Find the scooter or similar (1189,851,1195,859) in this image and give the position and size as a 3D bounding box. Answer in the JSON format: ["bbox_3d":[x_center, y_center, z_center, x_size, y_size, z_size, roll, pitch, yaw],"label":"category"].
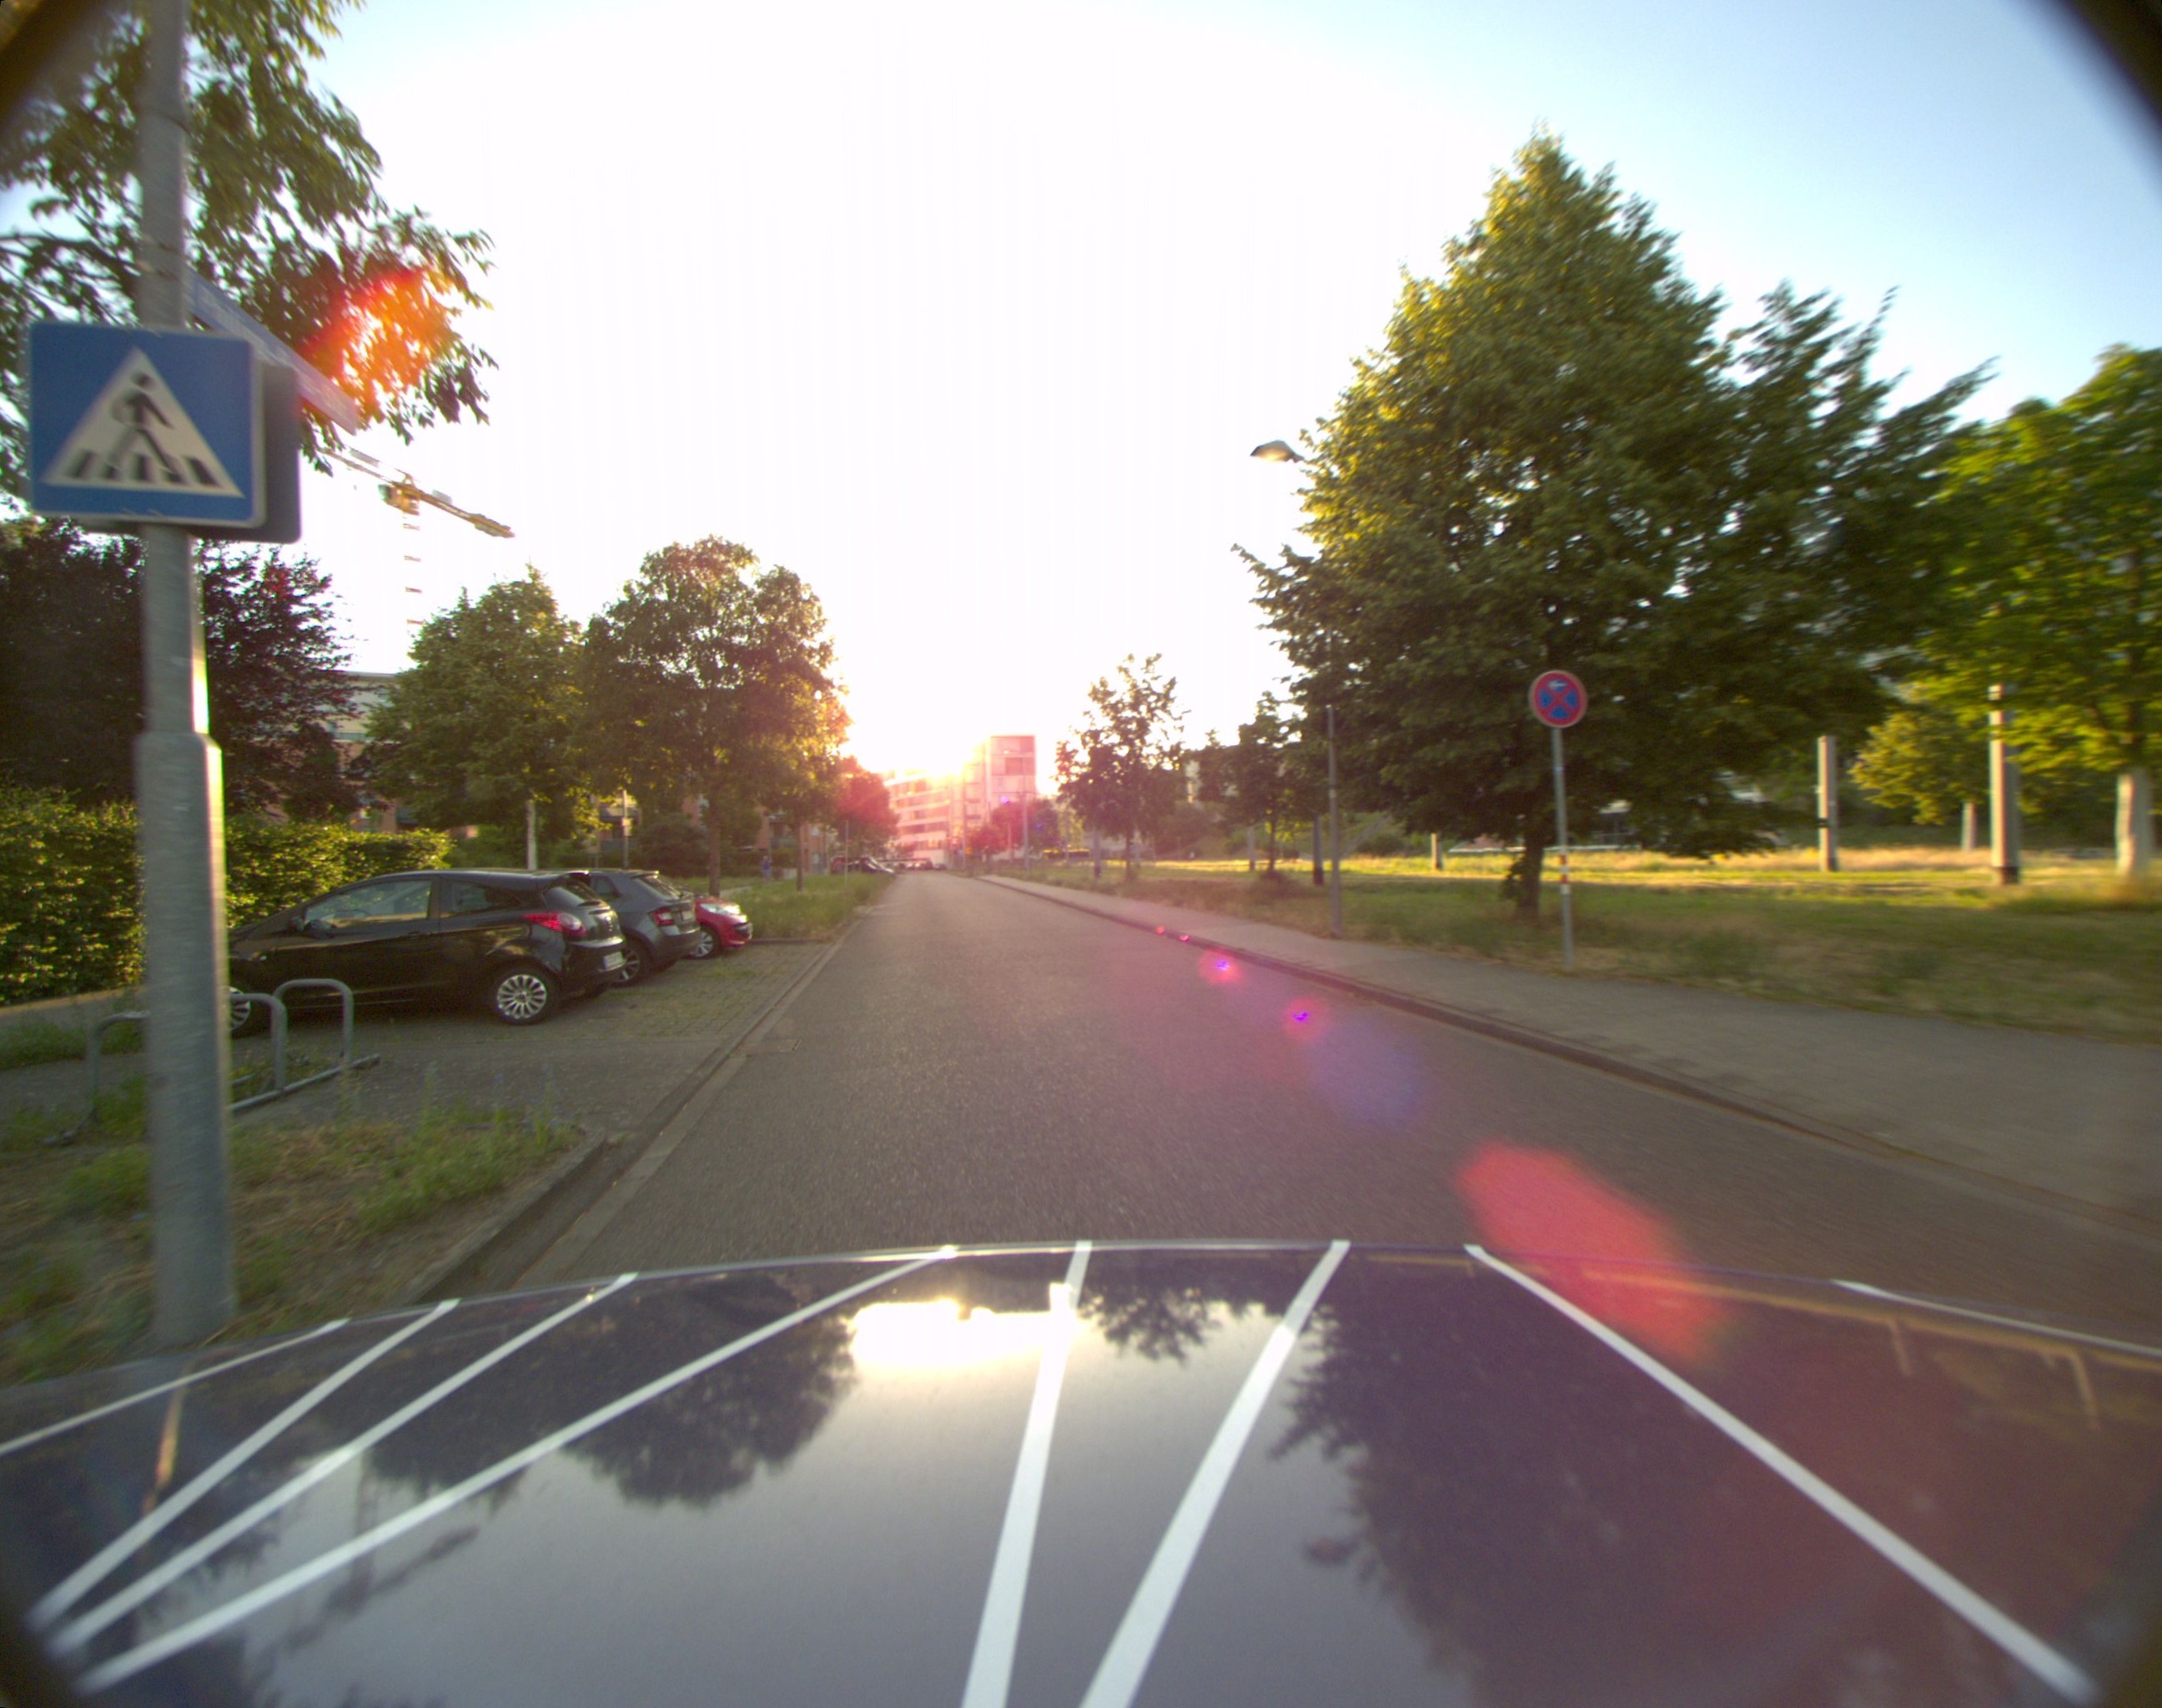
[{"bbox_3d":[17.239,0.158,118.472,0.618,1.237,0.789,-4,1,-13],"label":"scooter or similar"}]

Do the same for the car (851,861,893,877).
[{"bbox_3d":[-18.493,1.321,67.360,3.538,1.456,1.614,0,0,-12],"label":"car"}]

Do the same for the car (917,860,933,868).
[{"bbox_3d":[-32.383,2.166,157.706,1.869,1.468,4.510,-5,1,-28],"label":"car"}]

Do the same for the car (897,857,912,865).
[{"bbox_3d":[-39.463,1.536,169.783,1.800,1.676,3.990,-2,0,-34],"label":"car"}]

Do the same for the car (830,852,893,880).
[{"bbox_3d":[-18.628,1.010,64.770,4.937,2.104,2.015,-2,0,-11],"label":"car"}]

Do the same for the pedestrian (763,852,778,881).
[{"bbox_3d":[-19.150,0.755,46.814,0.671,1.733,0.698,-2,0,-12],"label":"pedestrian"}]

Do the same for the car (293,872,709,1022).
[{"bbox_3d":[-7.062,1.065,9.707,3.816,1.500,1.677,-2,0,-14],"label":"car"}]

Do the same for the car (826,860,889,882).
[{"bbox_3d":[-18.089,1.360,61.720,4.685,1.547,1.809,-2,0,-10],"label":"car"}]

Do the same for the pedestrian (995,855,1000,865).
[{"bbox_3d":[-14.601,1.073,132.961,0.450,1.826,0.482,-5,1,-32],"label":"pedestrian"}]

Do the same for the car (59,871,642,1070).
[{"bbox_3d":[-6.789,0.994,7.573,3.816,1.500,1.677,-2,0,-14],"label":"car"}]

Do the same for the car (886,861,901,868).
[{"bbox_3d":[-43.187,2.429,175.126,1.800,1.542,3.989,-5,2,-40],"label":"car"}]

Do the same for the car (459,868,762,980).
[{"bbox_3d":[-7.433,1.055,12.413,3.816,1.500,1.677,-2,0,-14],"label":"car"}]

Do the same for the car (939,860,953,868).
[{"bbox_3d":[-25.430,1.944,143.126,1.860,1.434,4.221,-4,1,-21],"label":"car"}]

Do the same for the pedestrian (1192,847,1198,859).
[{"bbox_3d":[17.673,-0.096,117.591,0.618,1.826,0.789,-4,1,-13],"label":"pedestrian"}]

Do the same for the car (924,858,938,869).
[{"bbox_3d":[-30.326,1.958,153.368,1.897,1.961,4.509,-4,1,-22],"label":"car"}]
